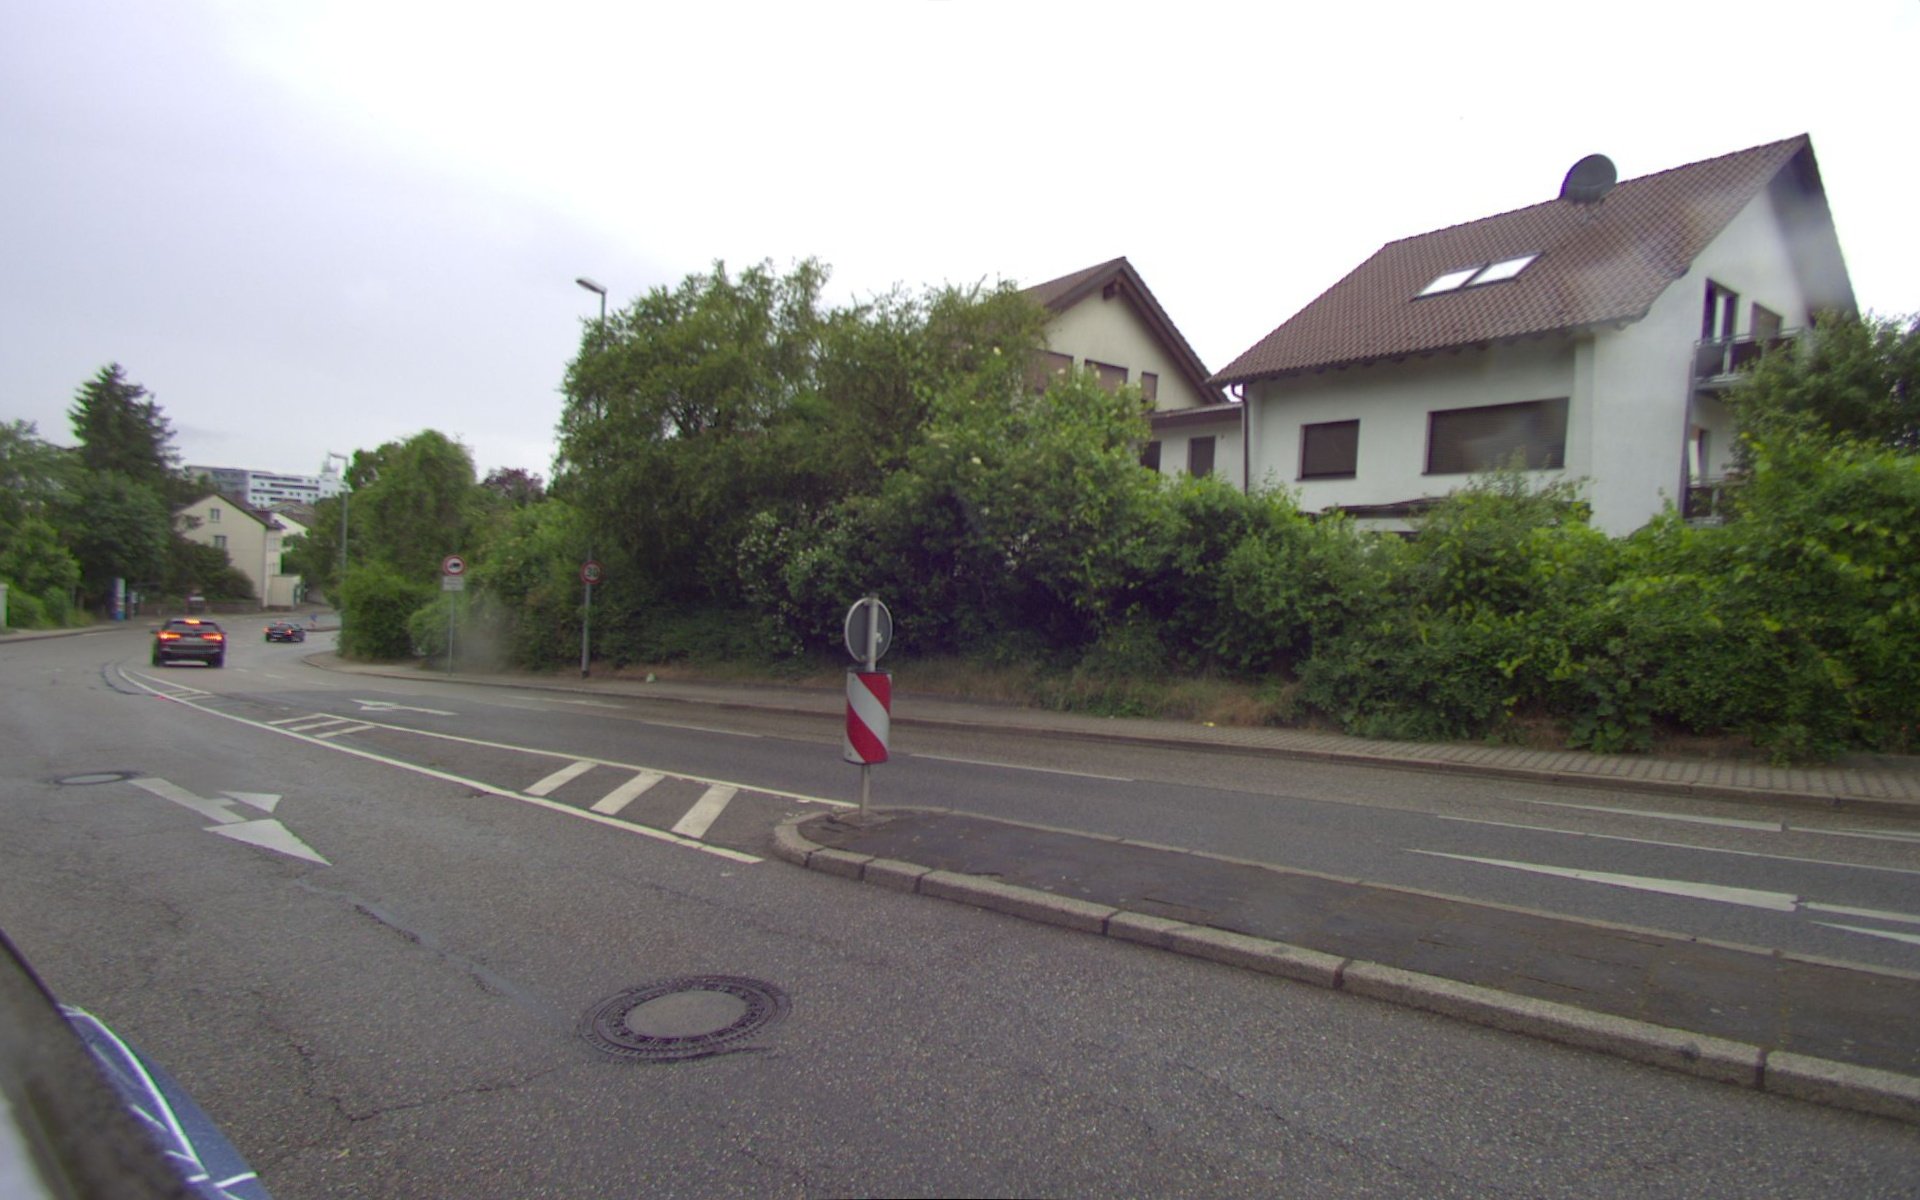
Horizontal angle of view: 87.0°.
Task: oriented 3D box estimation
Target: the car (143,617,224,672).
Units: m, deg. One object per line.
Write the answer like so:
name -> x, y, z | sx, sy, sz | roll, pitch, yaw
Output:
car -> -28.316, 1.614, 36.864 | 1.932, 1.860, 4.005 | 5, -4, -42

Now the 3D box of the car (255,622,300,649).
car -> -50.100, 2.630, 74.373 | 1.965, 1.929, 4.013 | 1, -2, -22
